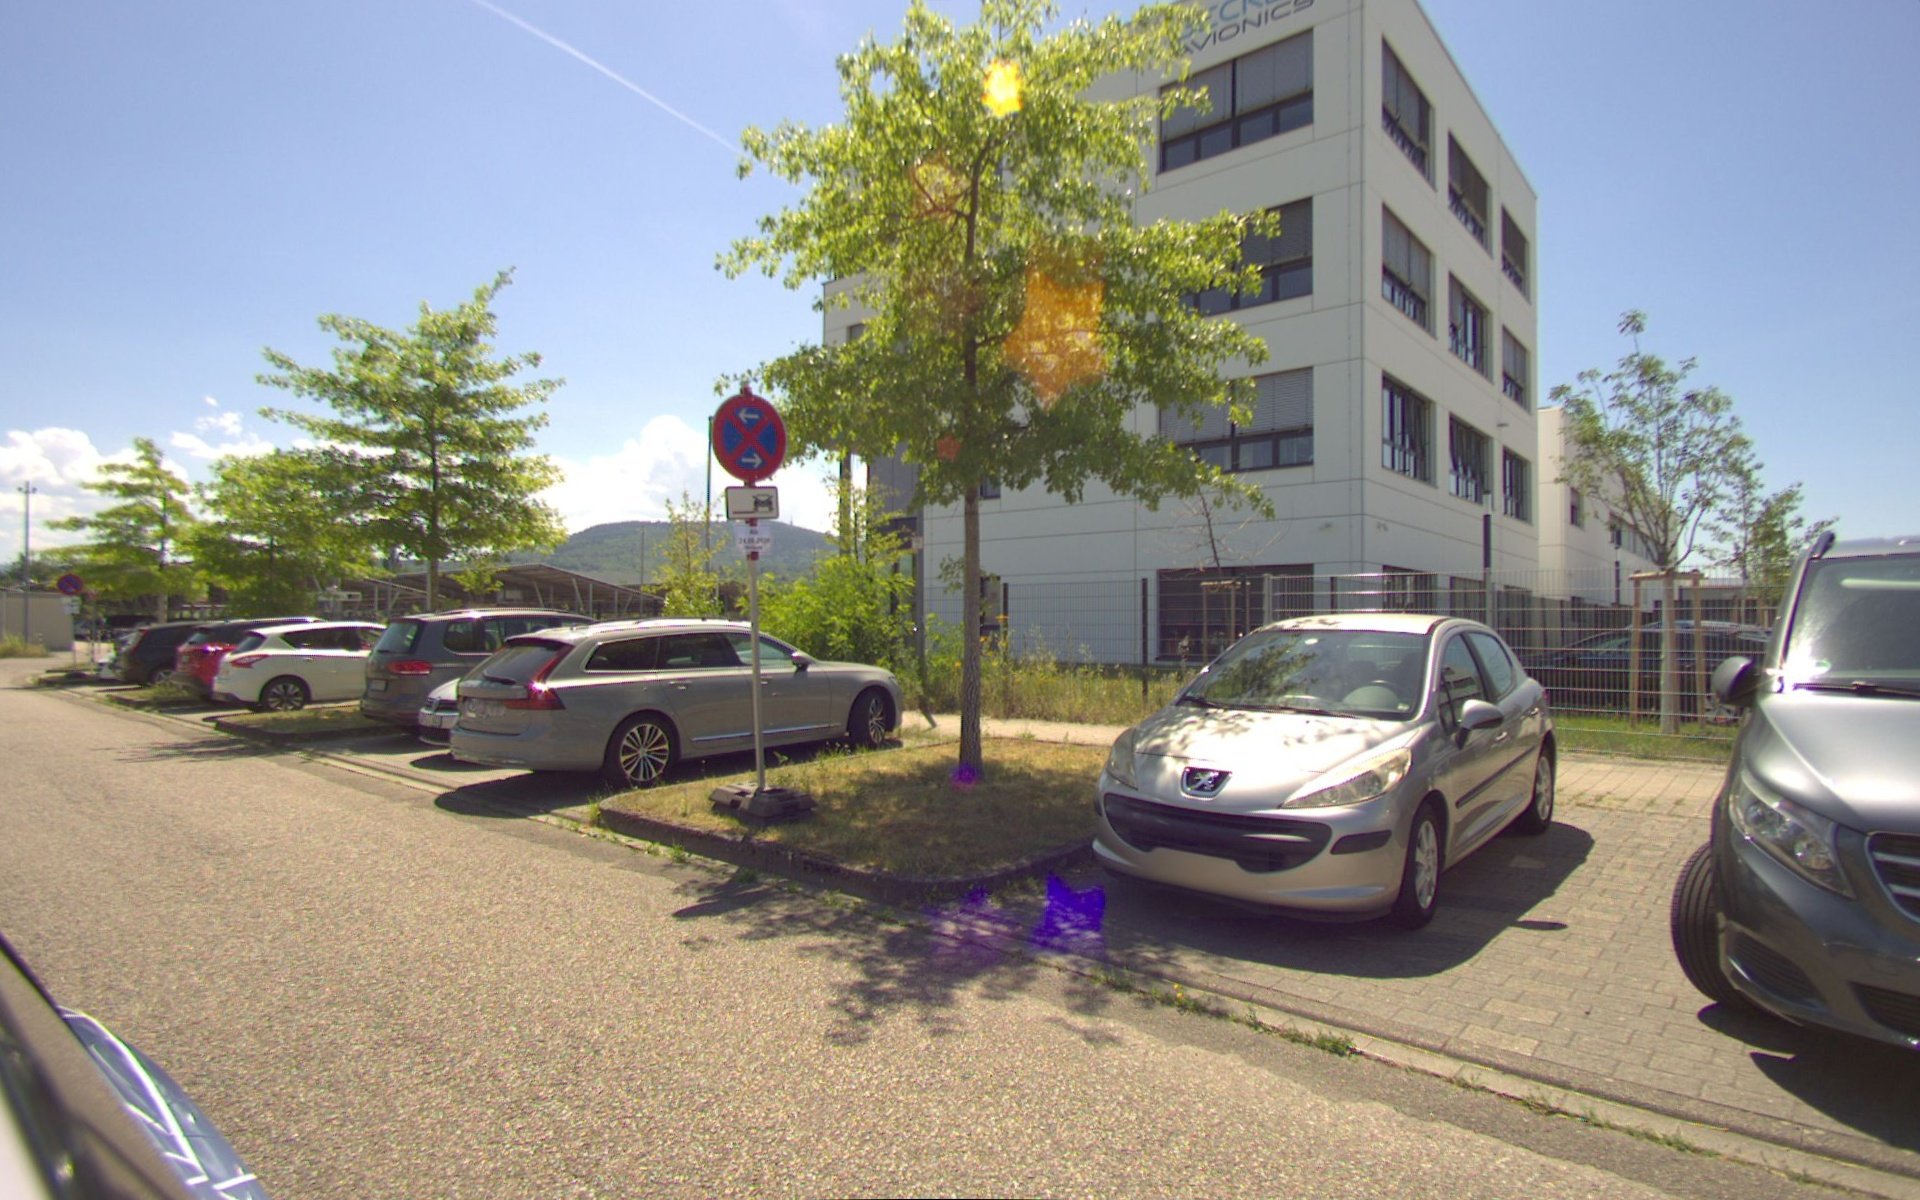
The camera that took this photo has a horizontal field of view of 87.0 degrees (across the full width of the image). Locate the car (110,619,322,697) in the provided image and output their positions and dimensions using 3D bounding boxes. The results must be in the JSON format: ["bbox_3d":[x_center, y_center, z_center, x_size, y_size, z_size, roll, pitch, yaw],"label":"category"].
[{"bbox_3d":[-17.596,1.320,24.043,3.862,1.604,1.728,-1,-1,-45],"label":"car"}]

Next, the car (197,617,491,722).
[{"bbox_3d":[-10.822,1.153,17.985,1.807,1.524,4.127,-3,-1,43],"label":"car"}]

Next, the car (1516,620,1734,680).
[{"bbox_3d":[15.320,1.113,23.404,3.999,1.237,1.972,0,-2,42],"label":"car"}]

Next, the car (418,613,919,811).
[{"bbox_3d":[-2.678,0.924,10.303,1.856,1.458,4.665,-2,-1,40],"label":"car"}]

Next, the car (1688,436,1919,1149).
[{"bbox_3d":[4.634,0.499,4.199,1.997,1.906,5.014,-2,-1,43],"label":"car"}]

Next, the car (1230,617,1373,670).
[{"bbox_3d":[10.944,1.389,32.559,3.997,1.614,1.757,-2,-3,41],"label":"car"}]

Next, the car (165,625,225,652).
[{"bbox_3d":[-42.253,2.109,55.899,3.770,1.447,1.702,-2,-2,38],"label":"car"}]

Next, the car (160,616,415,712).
[{"bbox_3d":[-12.967,1.164,19.681,1.726,1.604,3.801,-2,-1,39],"label":"car"}]

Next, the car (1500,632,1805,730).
[{"bbox_3d":[11.550,1.266,17.004,3.999,1.237,1.972,3,0,42],"label":"car"}]

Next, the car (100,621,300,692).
[{"bbox_3d":[-19.494,1.390,26.080,1.827,1.605,3.801,-2,-1,38],"label":"car"}]

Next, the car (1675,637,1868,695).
[{"bbox_3d":[22.230,1.752,27.812,3.999,1.237,1.972,3,0,42],"label":"car"}]

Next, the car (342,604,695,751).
[{"bbox_3d":[-5.872,0.925,13.817,1.727,1.647,4.072,-2,-1,43],"label":"car"}]

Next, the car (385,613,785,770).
[{"bbox_3d":[-4.336,0.957,12.277,1.726,1.484,4.268,-2,-1,39],"label":"car"}]

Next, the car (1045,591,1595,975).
[{"bbox_3d":[2.409,0.734,6.100,1.763,1.495,3.927,-2,0,42],"label":"car"}]

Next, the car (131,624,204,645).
[{"bbox_3d":[-56.029,2.468,71.595,1.721,1.447,3.728,-2,-2,38],"label":"car"}]

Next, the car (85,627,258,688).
[{"bbox_3d":[-21.482,1.528,27.652,1.726,1.452,3.468,-2,-1,41],"label":"car"}]
